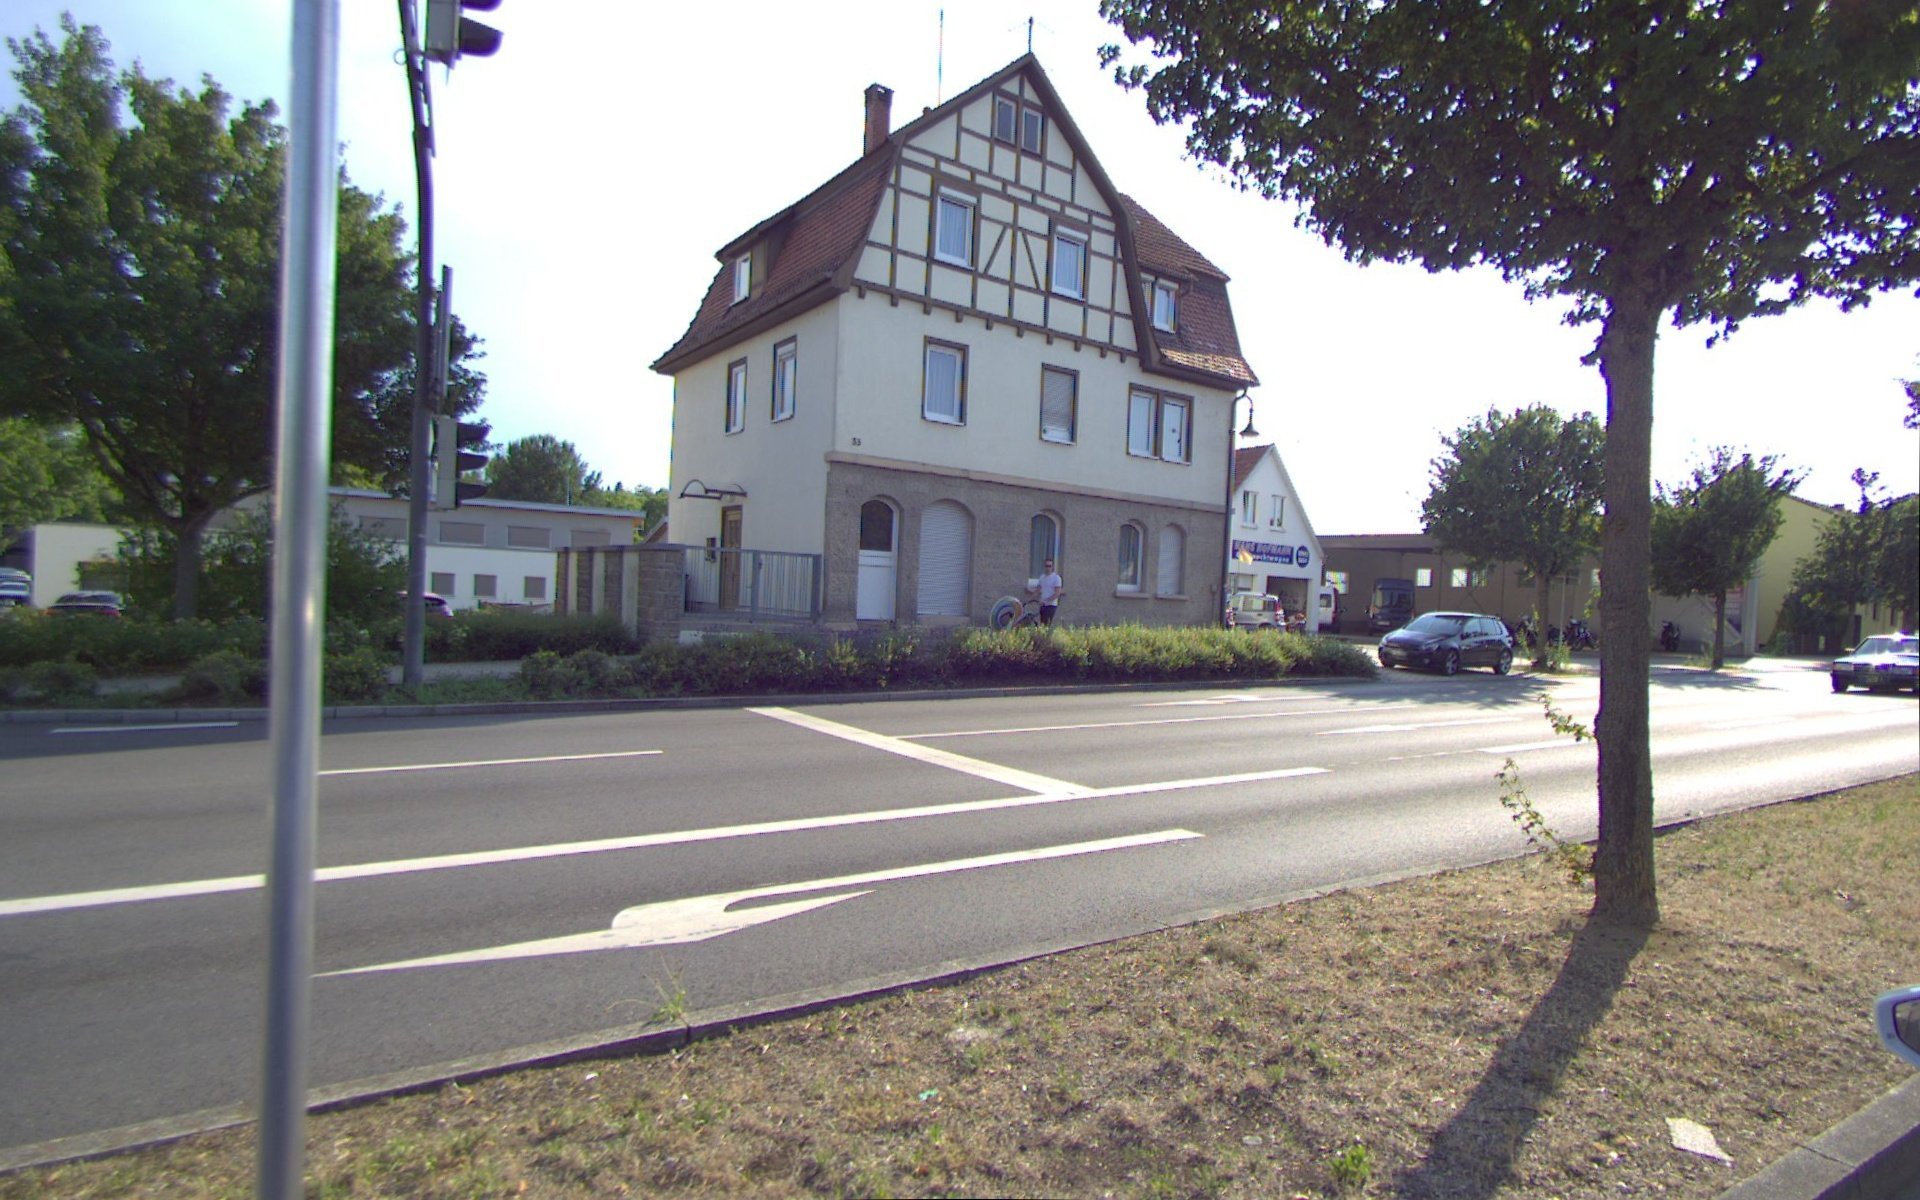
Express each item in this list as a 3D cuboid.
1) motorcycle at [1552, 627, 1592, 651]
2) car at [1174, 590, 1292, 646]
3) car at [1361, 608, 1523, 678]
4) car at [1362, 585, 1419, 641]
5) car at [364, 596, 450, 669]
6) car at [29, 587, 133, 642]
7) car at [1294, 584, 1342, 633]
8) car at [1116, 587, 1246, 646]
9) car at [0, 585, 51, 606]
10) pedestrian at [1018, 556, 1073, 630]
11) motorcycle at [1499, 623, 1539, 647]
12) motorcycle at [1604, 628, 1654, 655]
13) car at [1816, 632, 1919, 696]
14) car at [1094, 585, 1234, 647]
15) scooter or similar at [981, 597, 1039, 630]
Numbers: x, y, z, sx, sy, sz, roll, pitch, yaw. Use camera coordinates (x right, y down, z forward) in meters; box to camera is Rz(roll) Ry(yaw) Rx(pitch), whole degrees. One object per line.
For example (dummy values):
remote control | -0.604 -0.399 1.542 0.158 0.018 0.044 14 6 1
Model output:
motorcycle | 28.157 1.795 46.219 1.513 1.018 0.517 1 0 -3
car | 9.218 0.567 33.861 3.609 1.497 1.824 5 4 21
car | 12.163 1.069 25.273 4.089 1.473 1.745 2 4 -34
car | 20.733 0.554 48.572 2.002 2.367 4.319 5 3 18
car | -12.516 0.699 22.786 1.543 1.489 3.585 2 -1 -29
car | -24.259 0.397 27.837 1.731 1.418 3.621 2 -1 -35
car | 18.274 0.391 51.167 2.003 2.179 4.318 5 4 22
car | 7.112 0.483 32.343 3.617 1.497 1.820 6 4 32
car | -61.095 -0.308 65.708 1.729 1.276 3.561 2 -1 -31
pedestrian | 1.671 -0.125 19.712 0.700 1.413 0.807 1 0 -34
motorcycle | 26.994 1.696 48.509 1.605 1.083 0.517 1 0 -1
motorcycle | 29.486 1.825 44.271 1.832 1.083 0.517 1 0 3
car | 22.679 1.501 24.224 4.432 1.379 1.747 2 0 -30
car | 6.054 0.458 29.856 3.616 1.548 1.820 4 1 32
scooter or similar | 0.950 0.258 19.096 1.033 0.590 0.440 1 0 -35
